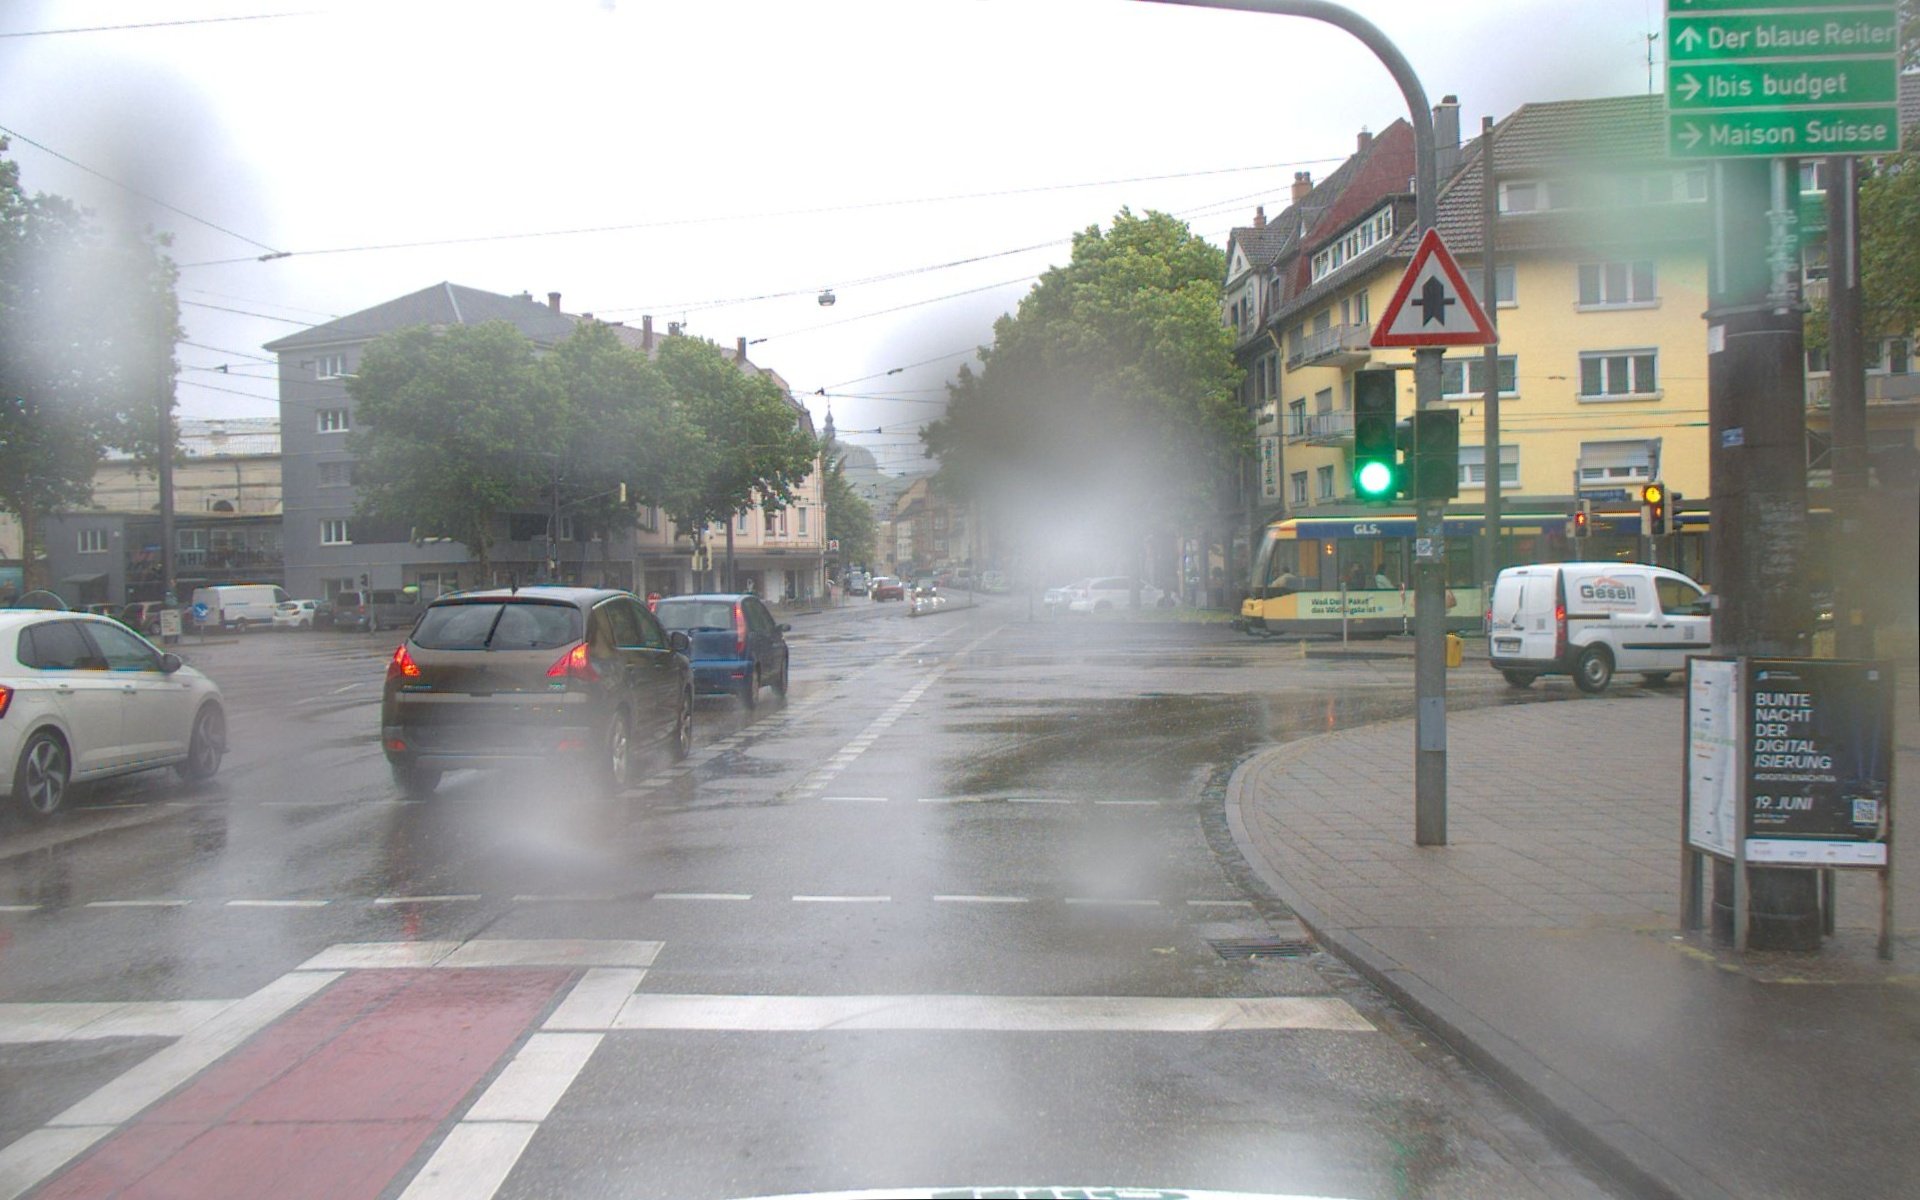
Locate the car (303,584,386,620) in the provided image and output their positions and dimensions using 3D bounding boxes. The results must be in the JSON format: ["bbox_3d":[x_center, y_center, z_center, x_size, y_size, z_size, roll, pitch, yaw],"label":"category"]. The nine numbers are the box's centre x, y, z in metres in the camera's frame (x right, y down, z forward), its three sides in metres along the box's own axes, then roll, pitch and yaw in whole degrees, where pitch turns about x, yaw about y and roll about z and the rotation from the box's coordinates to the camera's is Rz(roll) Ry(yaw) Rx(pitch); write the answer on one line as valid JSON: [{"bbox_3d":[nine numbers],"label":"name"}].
[{"bbox_3d":[-30.321,0.076,81.608,1.880,1.646,4.003,-1,1,15],"label":"car"}]

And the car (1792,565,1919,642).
[{"bbox_3d":[20.167,0.028,34.984,4.179,1.528,1.881,-1,1,7],"label":"car"}]

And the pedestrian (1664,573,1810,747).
[{"bbox_3d":[7.922,0.573,16.871,1.087,1.696,0.991,1,1,45],"label":"pedestrian"}]

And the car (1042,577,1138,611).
[{"bbox_3d":[6.658,-0.284,84.748,4.485,1.584,2.000,-1,1,21],"label":"car"}]

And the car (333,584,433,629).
[{"bbox_3d":[-27.777,0.287,79.768,2.021,2.048,4.392,0,1,28],"label":"car"}]

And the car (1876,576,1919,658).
[{"bbox_3d":[20.315,0.280,31.816,4.390,1.515,1.742,-1,1,12],"label":"car"}]

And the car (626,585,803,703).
[{"bbox_3d":[-3.259,0.614,22.656,1.844,1.485,3.831,0,-2,0],"label":"car"}]

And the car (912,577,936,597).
[{"bbox_3d":[-3.162,-1.129,144.889,1.953,1.718,3.998,1,0,-3],"label":"car"}]

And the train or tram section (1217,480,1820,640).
[{"bbox_3d":[13.883,-1.011,41.890,14.234,3.620,3.116,-1,1,-1],"label":"train or tram section"}]

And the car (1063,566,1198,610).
[{"bbox_3d":[6.661,-0.489,64.802,4.883,1.499,1.995,-2,1,-10],"label":"car"}]

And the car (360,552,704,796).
[{"bbox_3d":[-3.366,0.482,13.864,1.764,1.739,4.191,0,1,0],"label":"car"}]

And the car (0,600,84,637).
[{"bbox_3d":[-49.733,0.974,89.178,1.955,1.794,3.995,-1,1,28],"label":"car"}]

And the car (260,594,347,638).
[{"bbox_3d":[-32.466,0.758,81.922,1.951,2.048,4.003,-1,1,15],"label":"car"}]

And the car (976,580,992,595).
[{"bbox_3d":[2.264,-1.222,158.025,1.445,1.386,3.461,1,0,-1],"label":"car"}]

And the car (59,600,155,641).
[{"bbox_3d":[-44.173,1.052,85.739,1.955,2.049,3.994,0,0,28],"label":"car"}]

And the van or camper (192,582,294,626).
[{"bbox_3d":[-35.451,0.198,81.935,1.952,2.111,4.655,0,0,21],"label":"van or camper"}]

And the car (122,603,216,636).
[{"bbox_3d":[-40.178,1.019,84.086,1.953,1.642,3.998,-1,-1,23],"label":"car"}]

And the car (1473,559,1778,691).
[{"bbox_3d":[9.916,0.309,24.697,4.040,1.828,1.898,-1,1,-21],"label":"car"}]

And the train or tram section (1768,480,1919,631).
[{"bbox_3d":[27.986,-1.197,40.599,14.314,3.620,3.119,-1,1,11],"label":"train or tram section"}]

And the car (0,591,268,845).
[{"bbox_3d":[-7.028,0.757,12.572,1.770,1.563,4.190,-1,1,-1],"label":"car"}]

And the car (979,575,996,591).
[{"bbox_3d":[2.512,-1.569,151.690,1.445,1.386,3.461,1,0,-1],"label":"car"}]
